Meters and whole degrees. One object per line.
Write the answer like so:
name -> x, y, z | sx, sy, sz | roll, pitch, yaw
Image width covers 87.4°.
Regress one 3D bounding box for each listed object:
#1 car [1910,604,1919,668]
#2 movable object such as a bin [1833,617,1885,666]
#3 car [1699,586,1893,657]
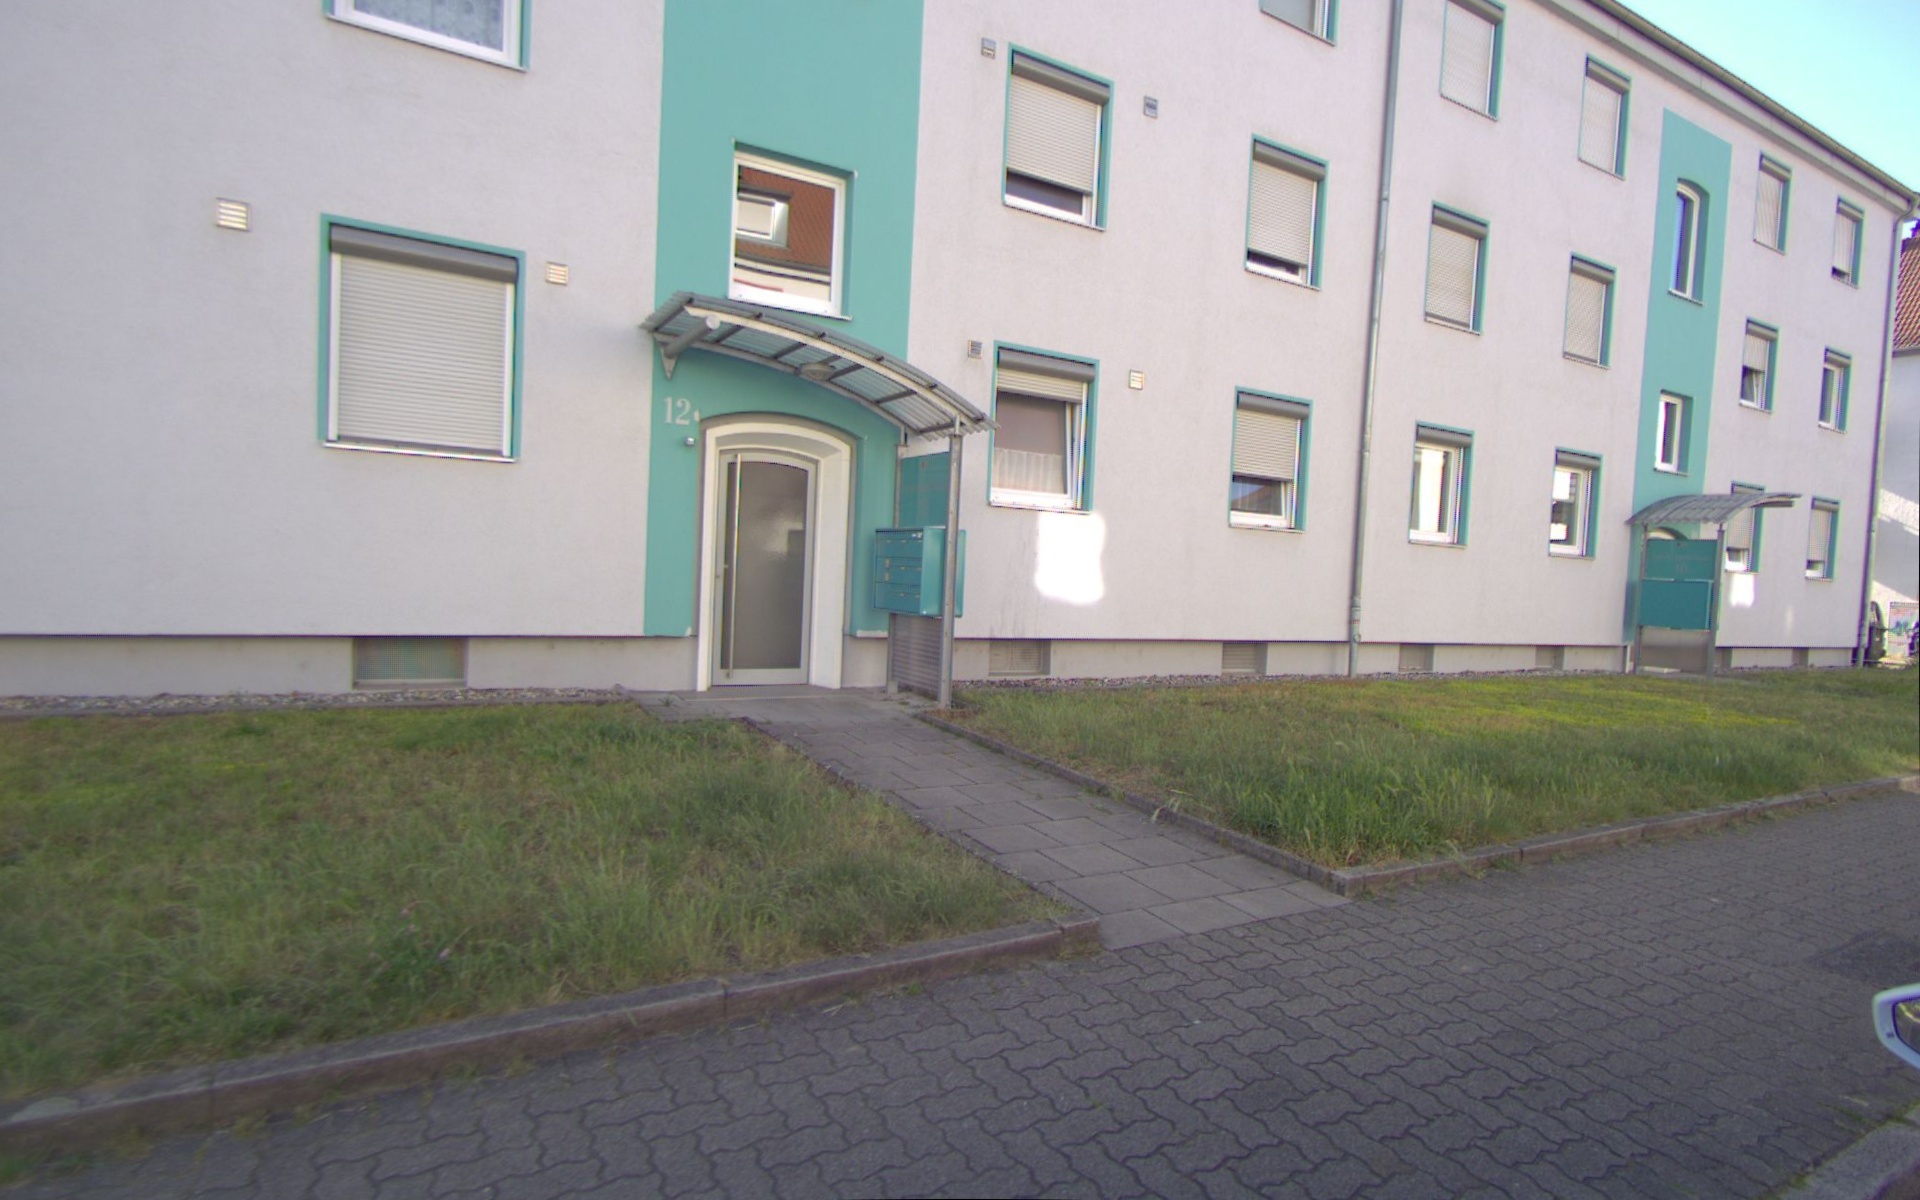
car -> 26.959, 1.061, 25.009 | 1.699, 1.685, 4.466 | 3, 0, -30
movable object such as a bin -> 19.551, 0.888, 21.840 | 0.707, 1.005, 0.609 | 1, 3, -32
car -> 24.406, 0.587, 29.473 | 1.699, 1.812, 3.971 | 3, 0, -30
